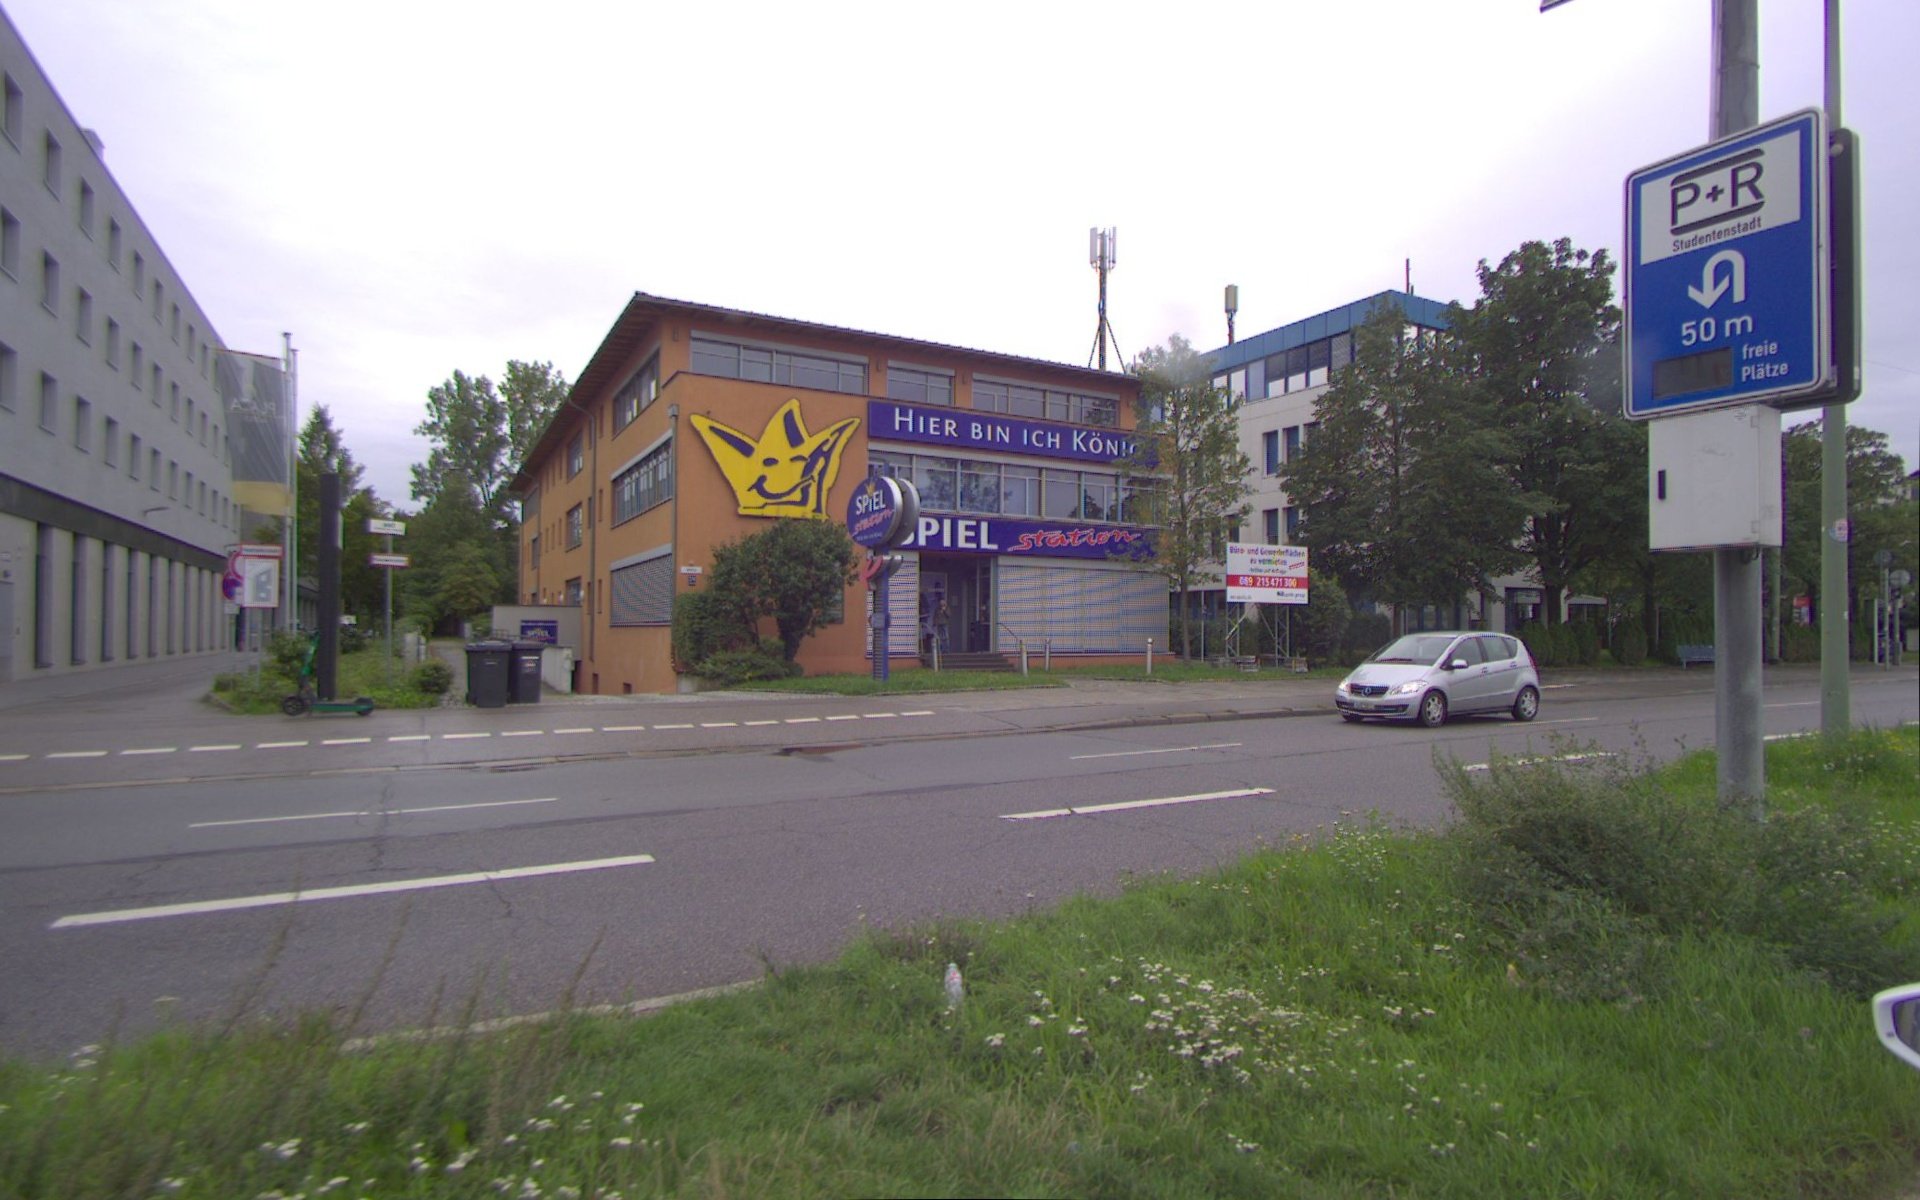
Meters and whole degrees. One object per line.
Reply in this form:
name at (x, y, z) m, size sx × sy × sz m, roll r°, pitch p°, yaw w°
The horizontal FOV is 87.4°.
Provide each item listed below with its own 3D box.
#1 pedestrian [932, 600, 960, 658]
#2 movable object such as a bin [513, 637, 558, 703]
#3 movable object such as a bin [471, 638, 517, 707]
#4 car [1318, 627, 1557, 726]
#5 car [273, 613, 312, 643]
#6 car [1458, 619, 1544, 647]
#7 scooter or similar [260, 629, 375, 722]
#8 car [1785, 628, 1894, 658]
pedestrian at (-0.435, 0.882, 30.716) m, size 0.652 × 1.735 × 0.657 m, roll 1°, pitch 0°, yaw -20°
movable object such as a bin at (-7.430, 1.210, 17.570) m, size 0.647 × 1.092 × 0.734 m, roll 1°, pitch 0°, yaw -28°
movable object such as a bin at (-7.791, 1.189, 16.778) m, size 0.647 × 1.092 × 0.734 m, roll 1°, pitch 0°, yaw -28°
car at (8.432, 1.290, 17.711) m, size 3.976 × 1.578 × 1.807 m, roll 1°, pitch -3°, yaw -28°
car at (-48.380, 2.031, 72.885) m, size 1.976 × 2.040 × 3.969 m, roll 1°, pitch -1°, yaw -29°
car at (29.185, 1.759, 54.309) m, size 1.837 × 1.437 × 4.167 m, roll 1°, pitch -1°, yaw -12°
scooter or similar at (-9.536, 1.103, 14.950) m, size 1.386 × 1.295 × 0.583 m, roll 1°, pitch 3°, yaw -29°
car at (50.591, 2.466, 57.885) m, size 1.969 × 1.595 × 4.264 m, roll -1°, pitch -1°, yaw -20°
